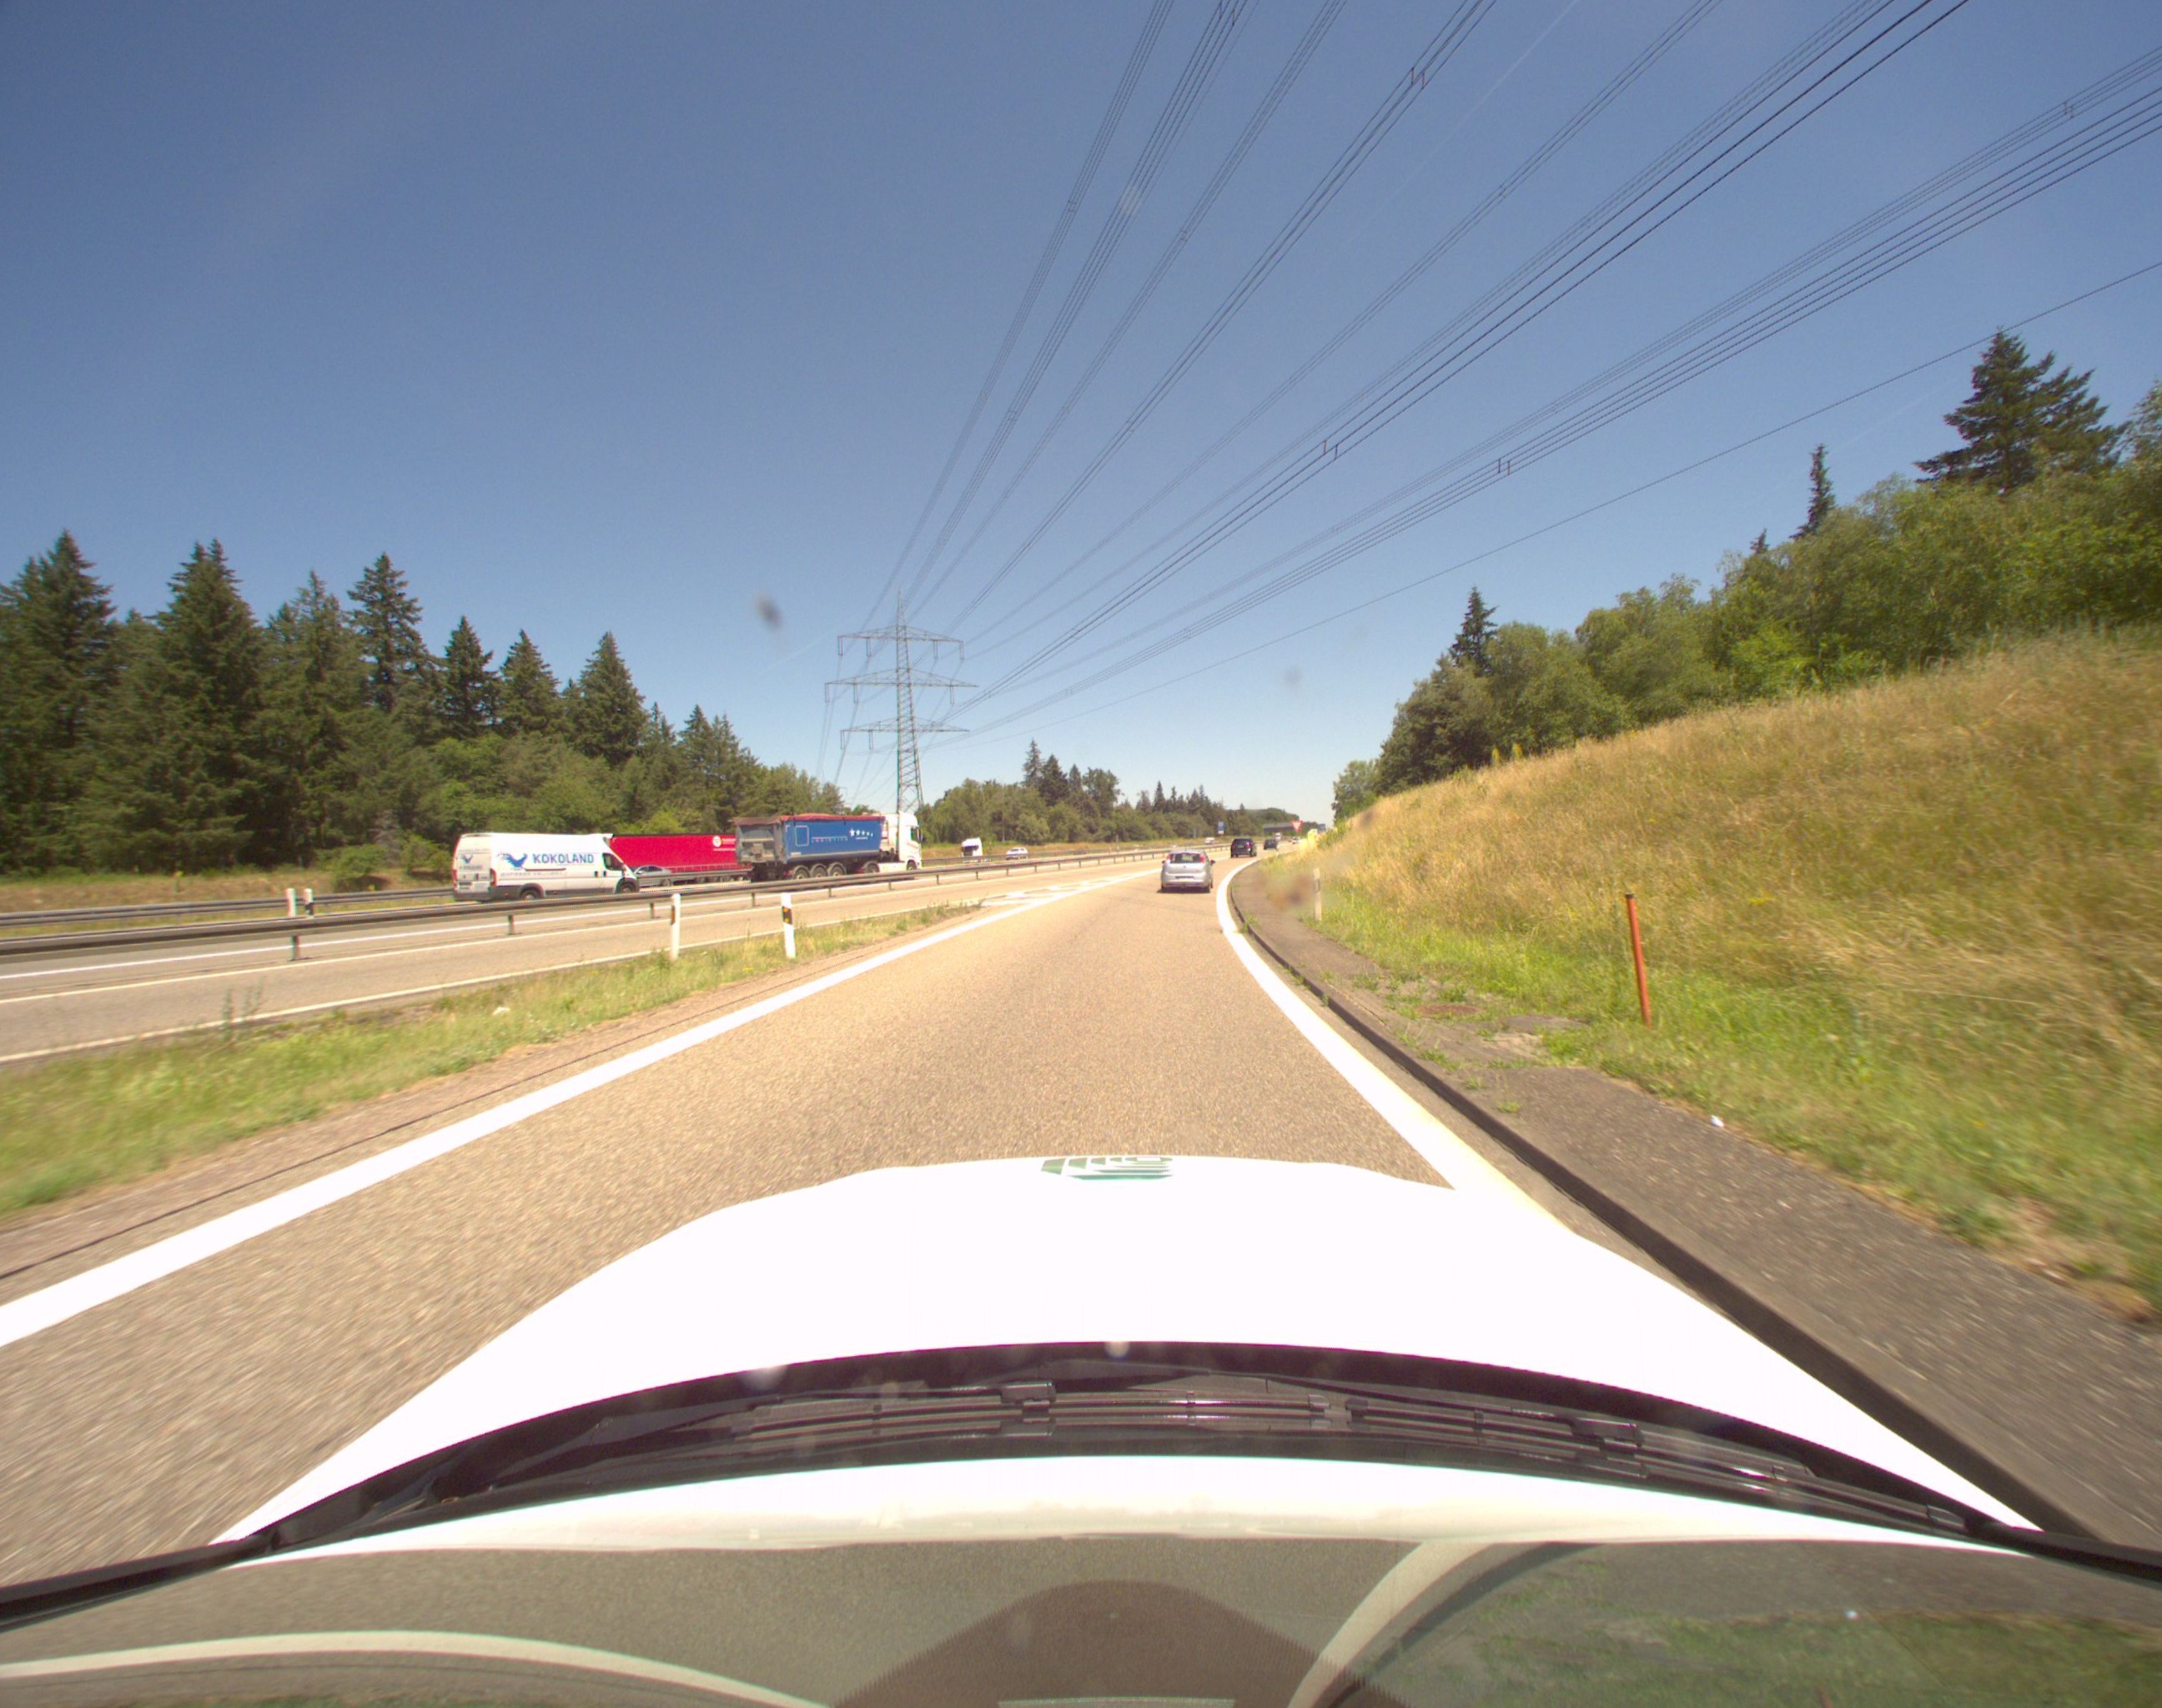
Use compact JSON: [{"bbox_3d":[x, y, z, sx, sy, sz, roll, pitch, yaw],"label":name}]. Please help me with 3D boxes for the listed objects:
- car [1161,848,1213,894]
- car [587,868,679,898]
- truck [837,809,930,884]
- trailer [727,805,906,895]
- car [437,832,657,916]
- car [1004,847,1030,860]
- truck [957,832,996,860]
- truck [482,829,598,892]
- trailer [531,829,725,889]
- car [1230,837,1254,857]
[{"bbox_3d":[3.729,0.555,28.538,1.697,1.481,3.405,1,0,8],"label":"car"},{"bbox_3d":[-27.227,1.732,49.719,1.756,1.684,4.851,-2,-1,23],"label":"car"},{"bbox_3d":[-10.732,-0.413,44.700,2.734,3.807,4.644,-2,1,18],"label":"truck"},{"bbox_3d":[-12.413,-0.270,39.651,2.748,3.807,9.933,-2,1,18],"label":"trailer"},{"bbox_3d":[-20.154,0.702,31.344,2.220,2.833,7.089,-2,-1,20],"label":"car"},{"bbox_3d":[-8.827,-0.085,113.037,1.757,1.684,4.849,-2,-1,19],"label":"car"},{"bbox_3d":[-17.022,-1.238,133.045,2.835,4.345,7.570,-2,-1,21],"label":"truck"},{"bbox_3d":[-34.780,0.340,52.588,2.520,3.797,5.698,-2,1,21],"label":"truck"},{"bbox_3d":[-32.268,0.129,59.303,2.520,3.797,13.813,-2,1,21],"label":"trailer"},{"bbox_3d":[14.167,-0.574,71.457,1.693,1.676,3.413,-2,-1,17],"label":"car"}]
